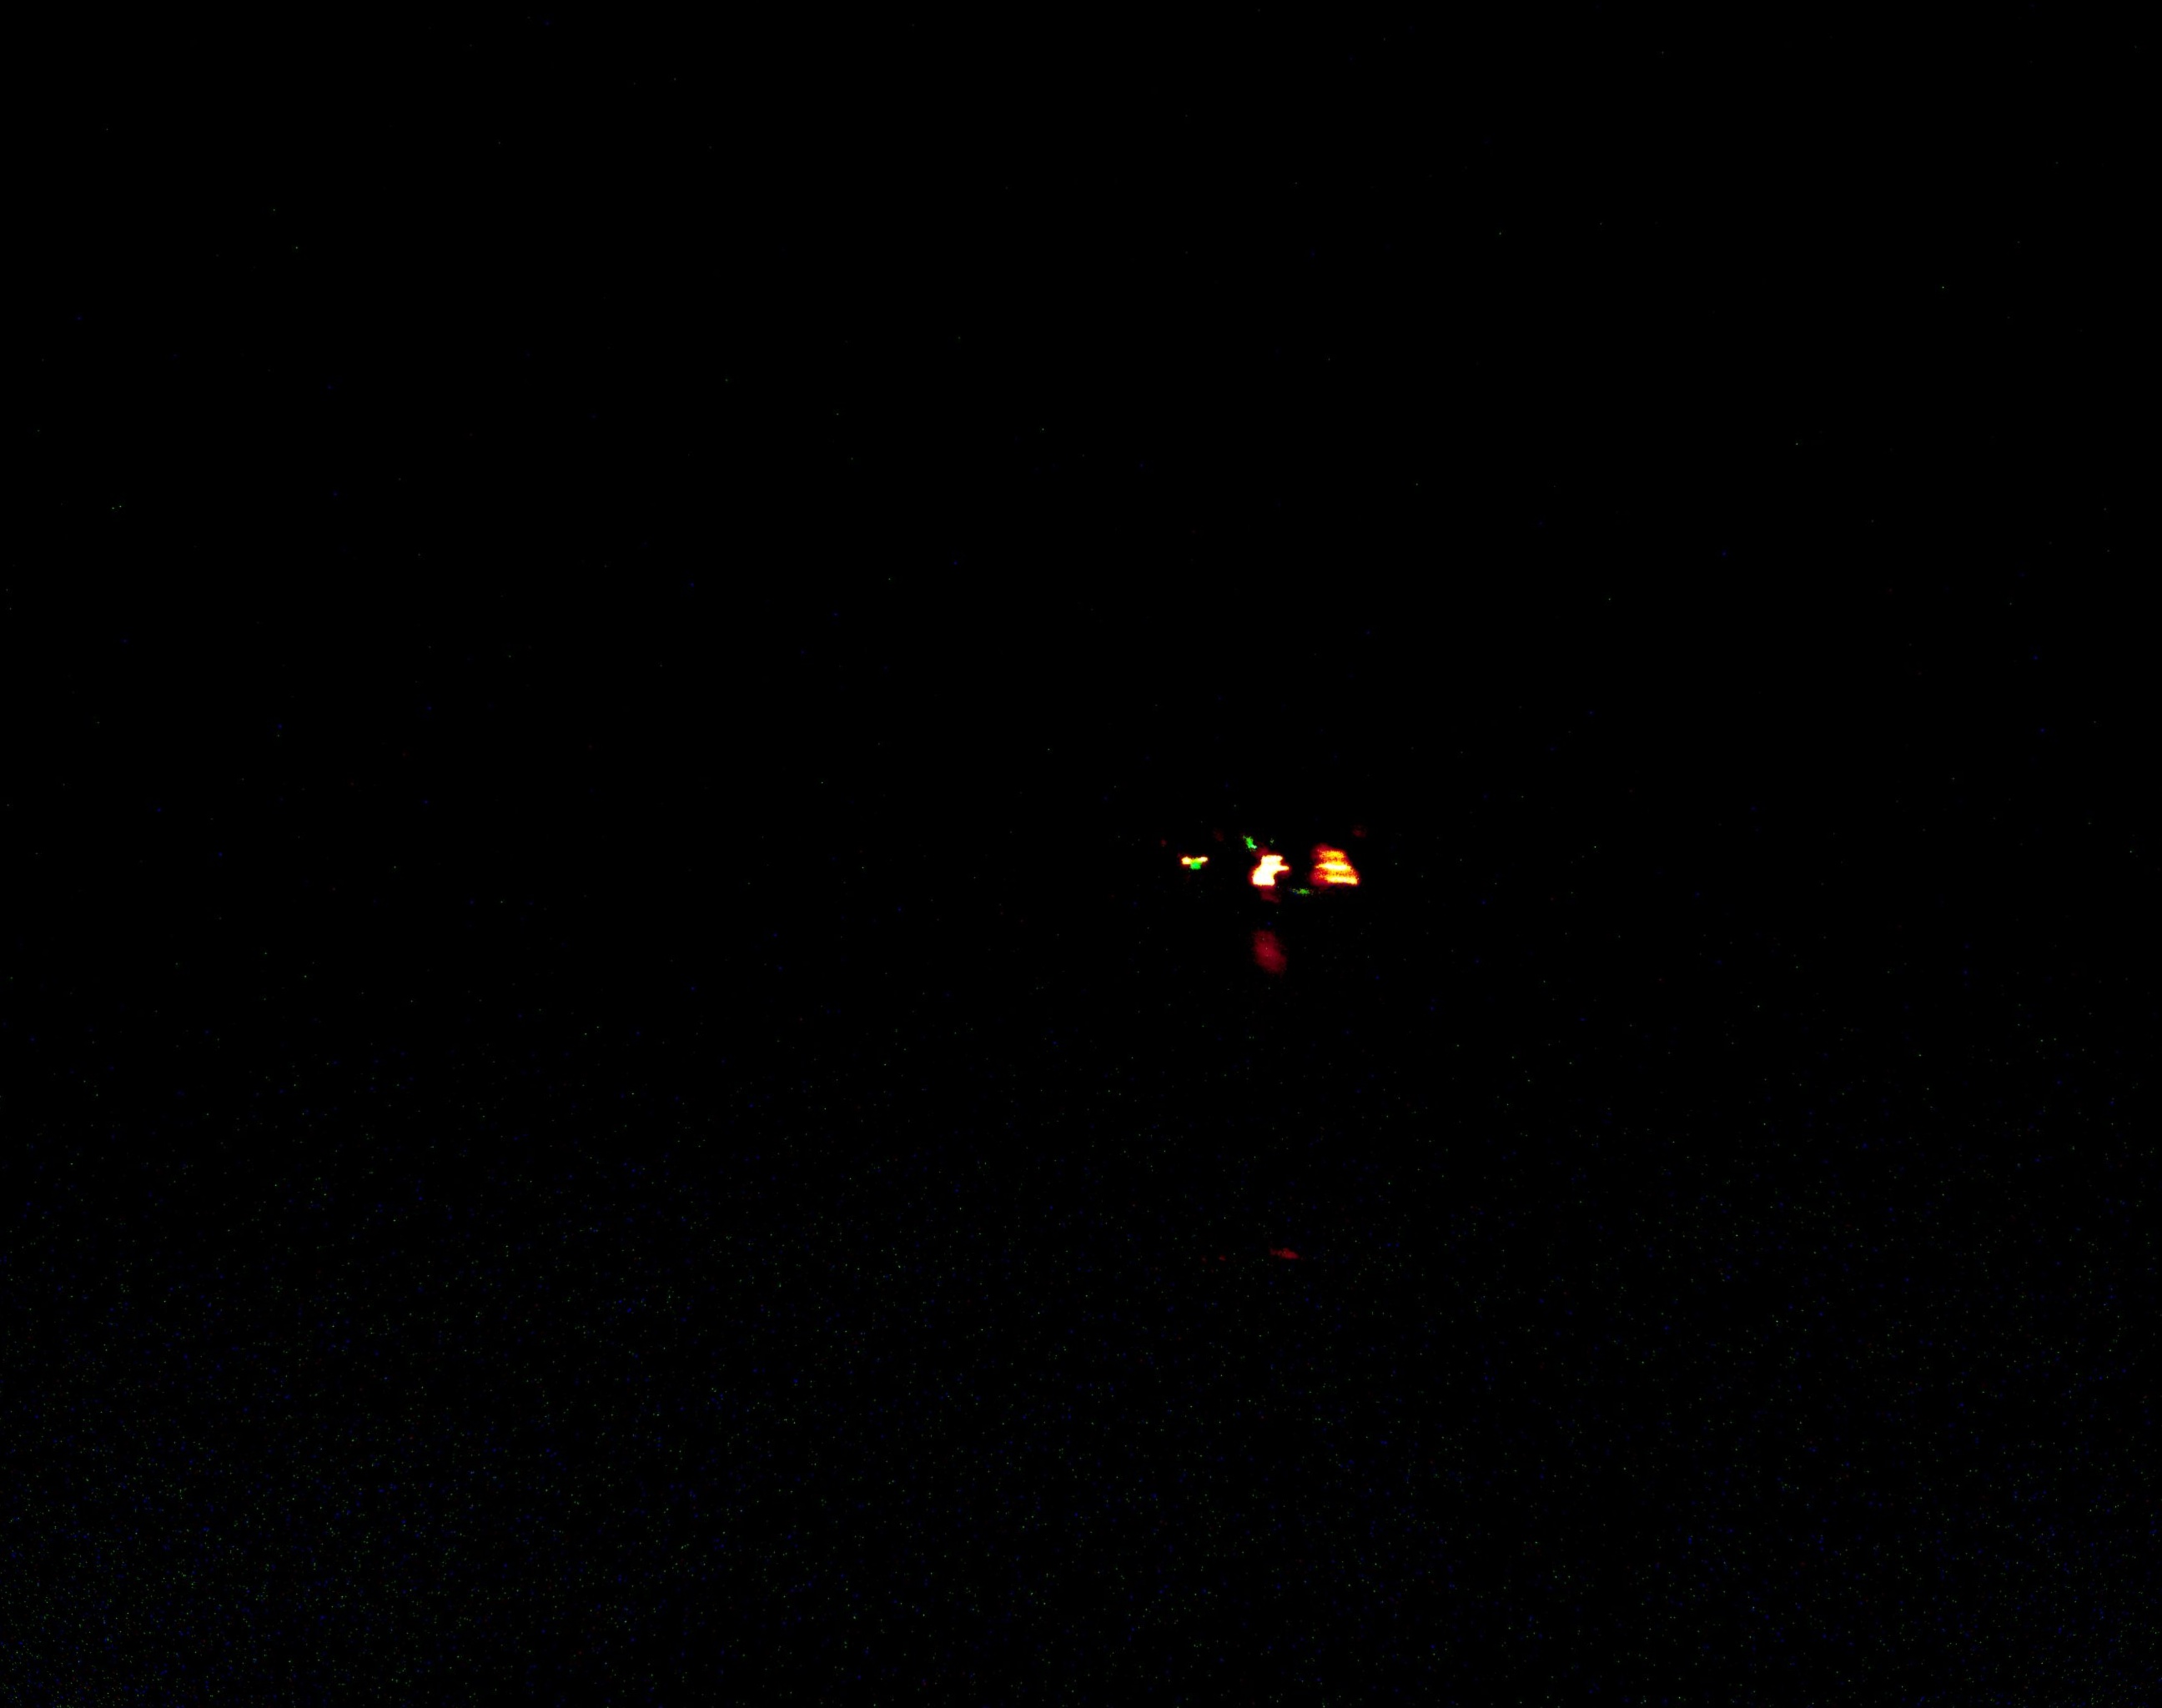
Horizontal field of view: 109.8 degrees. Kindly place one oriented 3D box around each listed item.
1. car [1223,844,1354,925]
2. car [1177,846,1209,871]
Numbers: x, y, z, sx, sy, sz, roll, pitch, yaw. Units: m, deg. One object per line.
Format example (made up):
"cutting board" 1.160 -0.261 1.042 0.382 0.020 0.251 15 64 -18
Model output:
"car" 4.799 0.608 18.396 1.998 1.698 4.984 0 1 2
"car" 7.290 0.257 49.440 1.934 1.575 4.987 0 1 8
